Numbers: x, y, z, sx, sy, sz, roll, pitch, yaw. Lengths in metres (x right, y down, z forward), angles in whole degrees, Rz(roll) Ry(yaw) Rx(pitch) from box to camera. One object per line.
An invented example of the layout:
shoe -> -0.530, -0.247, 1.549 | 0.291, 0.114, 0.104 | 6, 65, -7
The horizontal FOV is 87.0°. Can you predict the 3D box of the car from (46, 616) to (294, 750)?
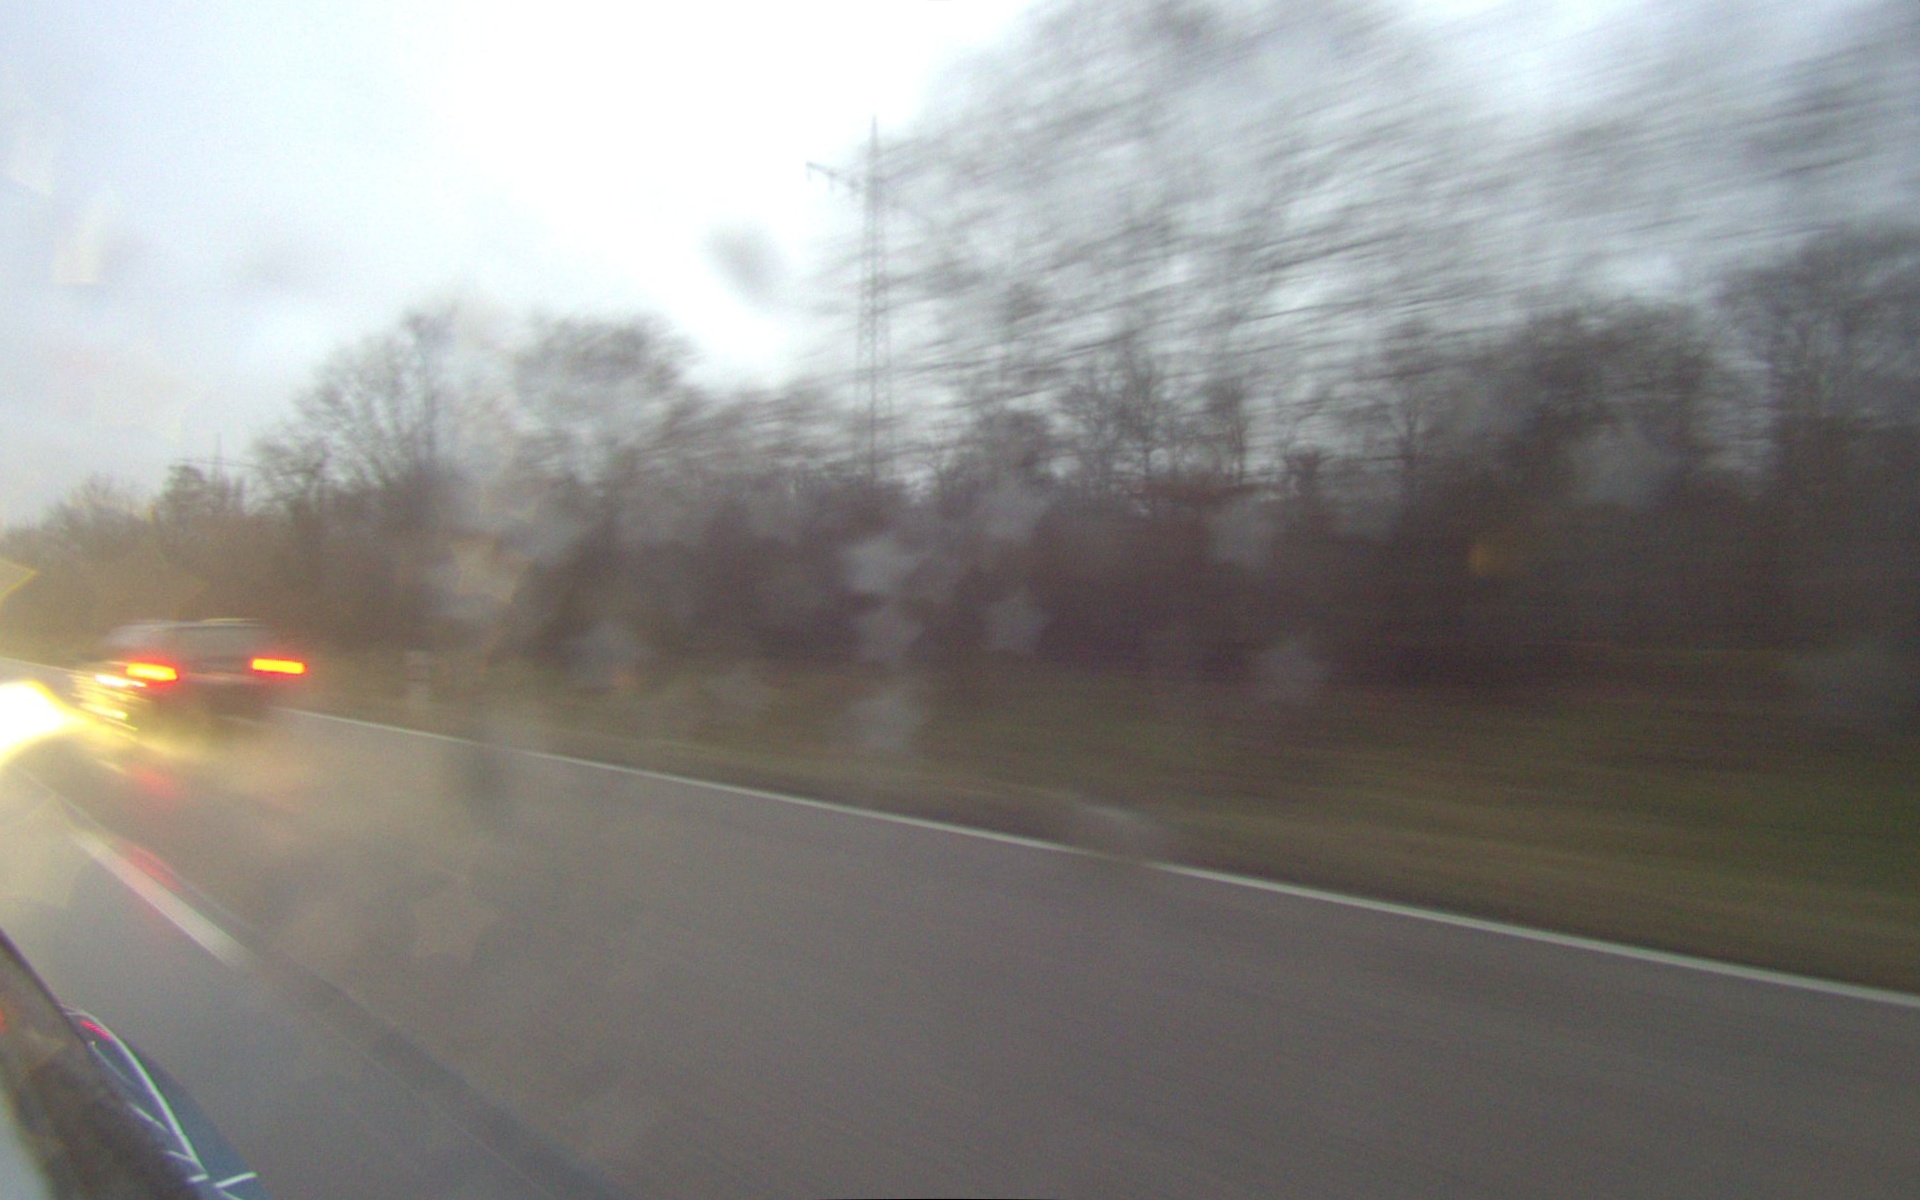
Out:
car -> -11.122, 1.013, 14.055 | 5.661, 1.507, 1.681 | -2, -1, 41
